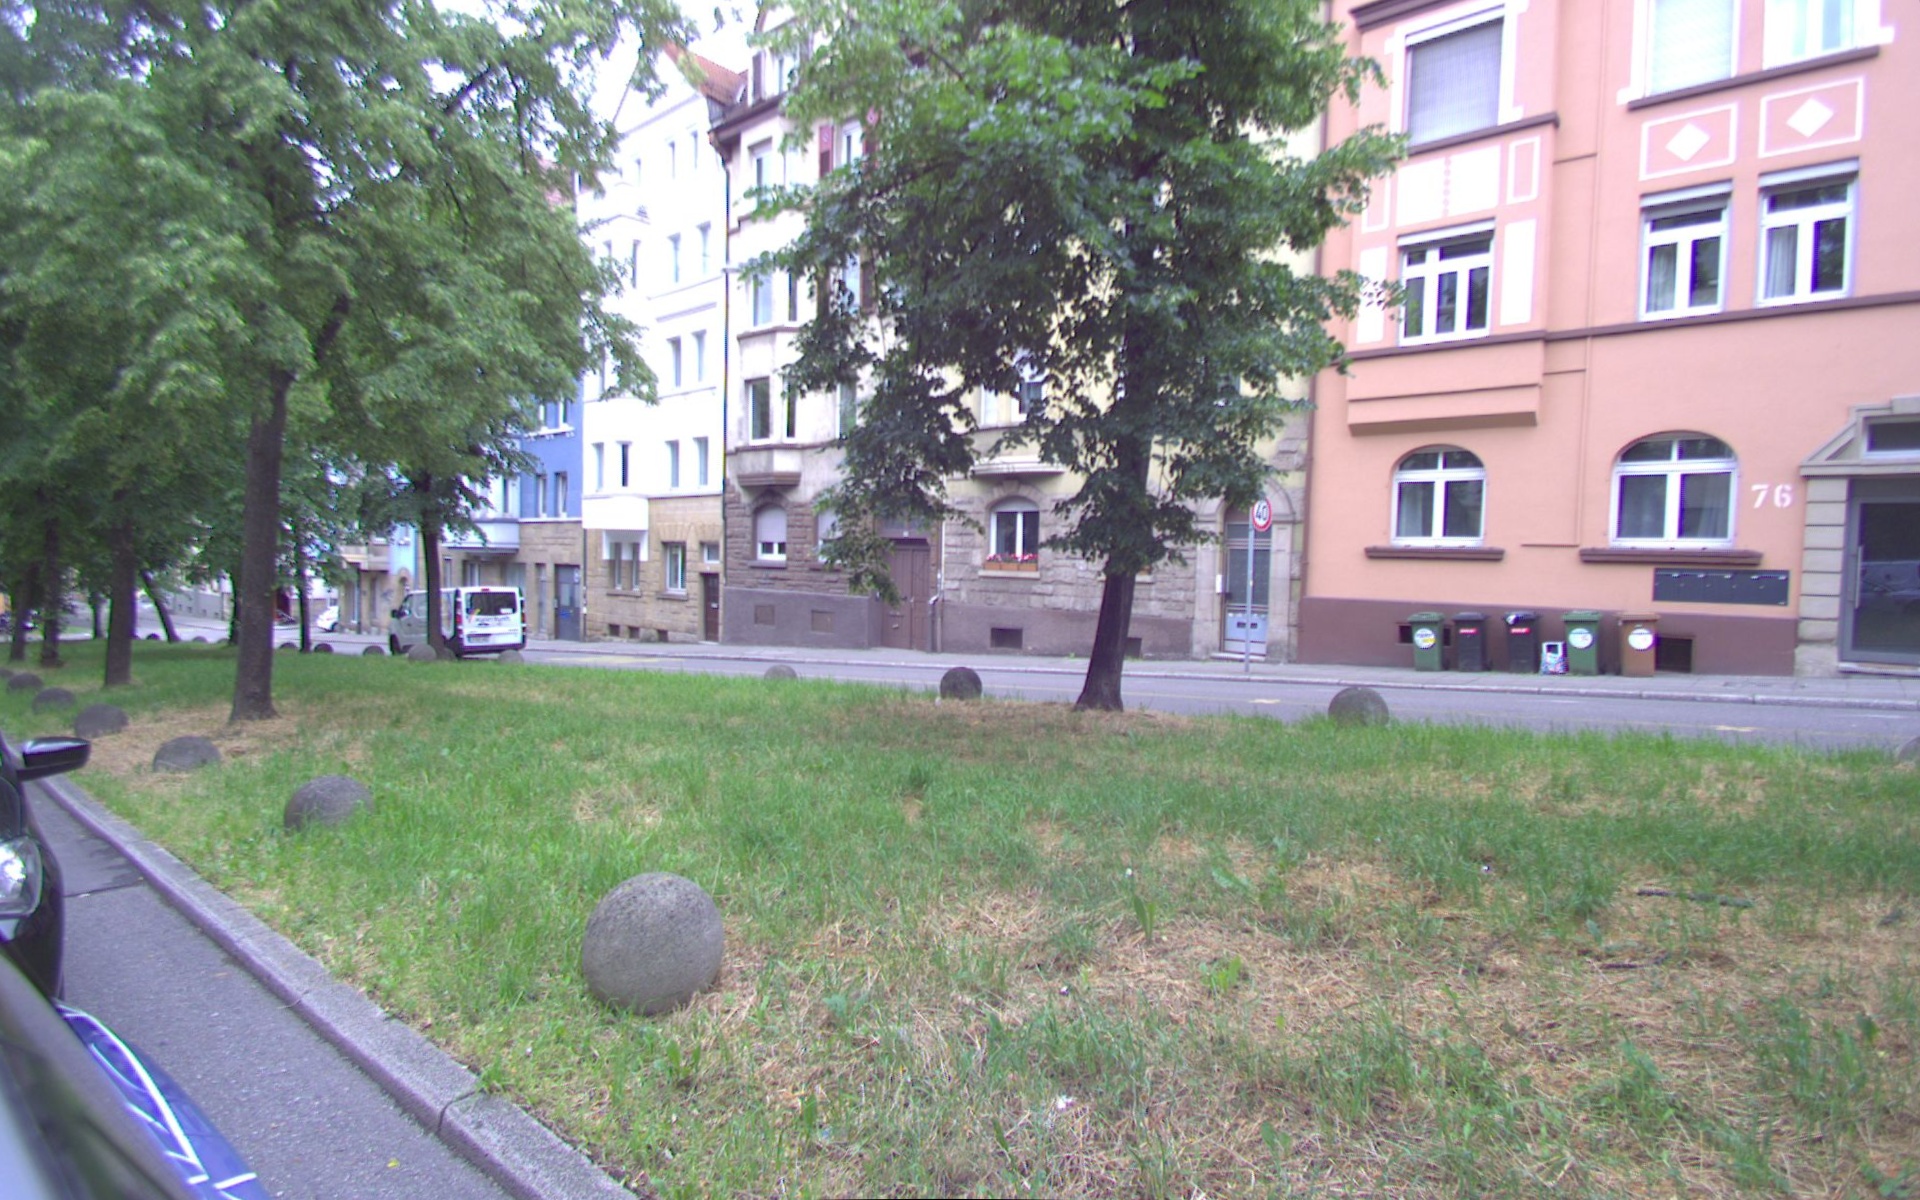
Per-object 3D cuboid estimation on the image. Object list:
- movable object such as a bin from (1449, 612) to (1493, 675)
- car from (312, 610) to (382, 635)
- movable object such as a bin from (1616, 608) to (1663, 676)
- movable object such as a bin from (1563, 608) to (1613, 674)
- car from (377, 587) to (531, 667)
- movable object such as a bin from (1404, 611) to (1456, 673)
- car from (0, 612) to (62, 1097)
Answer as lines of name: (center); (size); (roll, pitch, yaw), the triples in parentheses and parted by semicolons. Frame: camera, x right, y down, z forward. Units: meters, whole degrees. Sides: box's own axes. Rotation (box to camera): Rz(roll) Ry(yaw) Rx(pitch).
movable object such as a bin: (7.993, 0.669, 15.822); (0.531, 0.953, 0.575); (-1, 0, 35)
car: (-35.405, 1.302, 58.471); (3.244, 1.341, 1.674); (-1, 0, -40)
movable object such as a bin: (9.638, 0.579, 14.351); (0.514, 0.928, 0.750); (-1, 0, 36)
movable object such as a bin: (9.158, 0.585, 14.760); (0.559, 0.928, 0.648); (-1, 0, 36)
car: (-13.958, 0.720, 27.741); (5.306, 1.959, 1.972); (-2, 0, 42)
movable object such as a bin: (7.520, 0.658, 16.195); (0.617, 0.955, 0.610); (-1, 0, 40)
car: (-4.604, 0.776, 3.672); (3.295, 1.476, 1.590); (-1, -2, 41)
